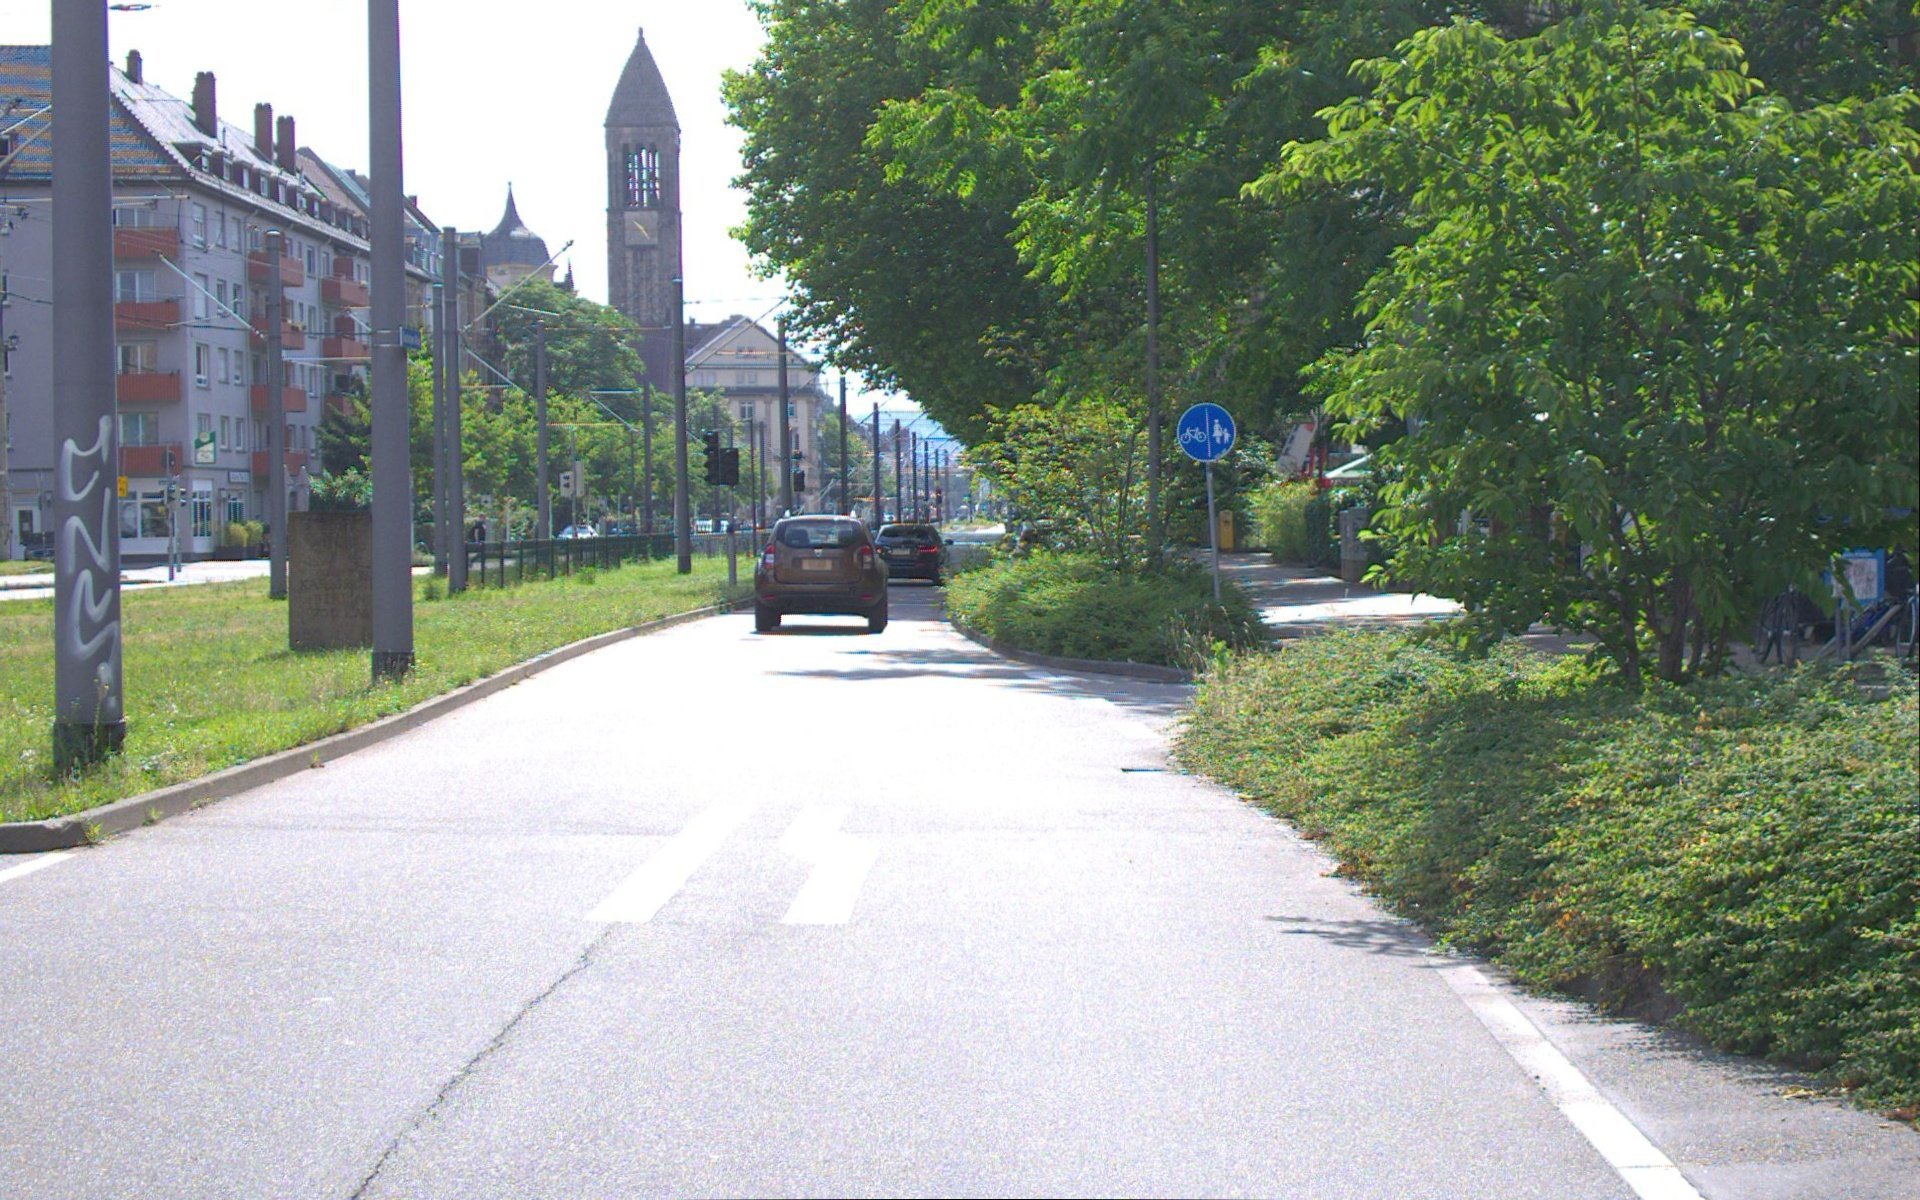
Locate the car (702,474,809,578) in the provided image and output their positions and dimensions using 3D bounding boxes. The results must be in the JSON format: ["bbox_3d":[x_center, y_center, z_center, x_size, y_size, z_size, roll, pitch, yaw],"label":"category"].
[{"bbox_3d":[-4.089,-1.502,69.254,1.993,2.006,4.001,-1,2,-2],"label":"car"}]

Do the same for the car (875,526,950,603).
[{"bbox_3d":[-1.098,-0.850,80.406,1.689,1.568,3.610,-1,4,-1],"label":"car"}]

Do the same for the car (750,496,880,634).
[{"bbox_3d":[-2.012,-0.529,48.470,1.689,1.705,3.610,-1,4,-1],"label":"car"}]
